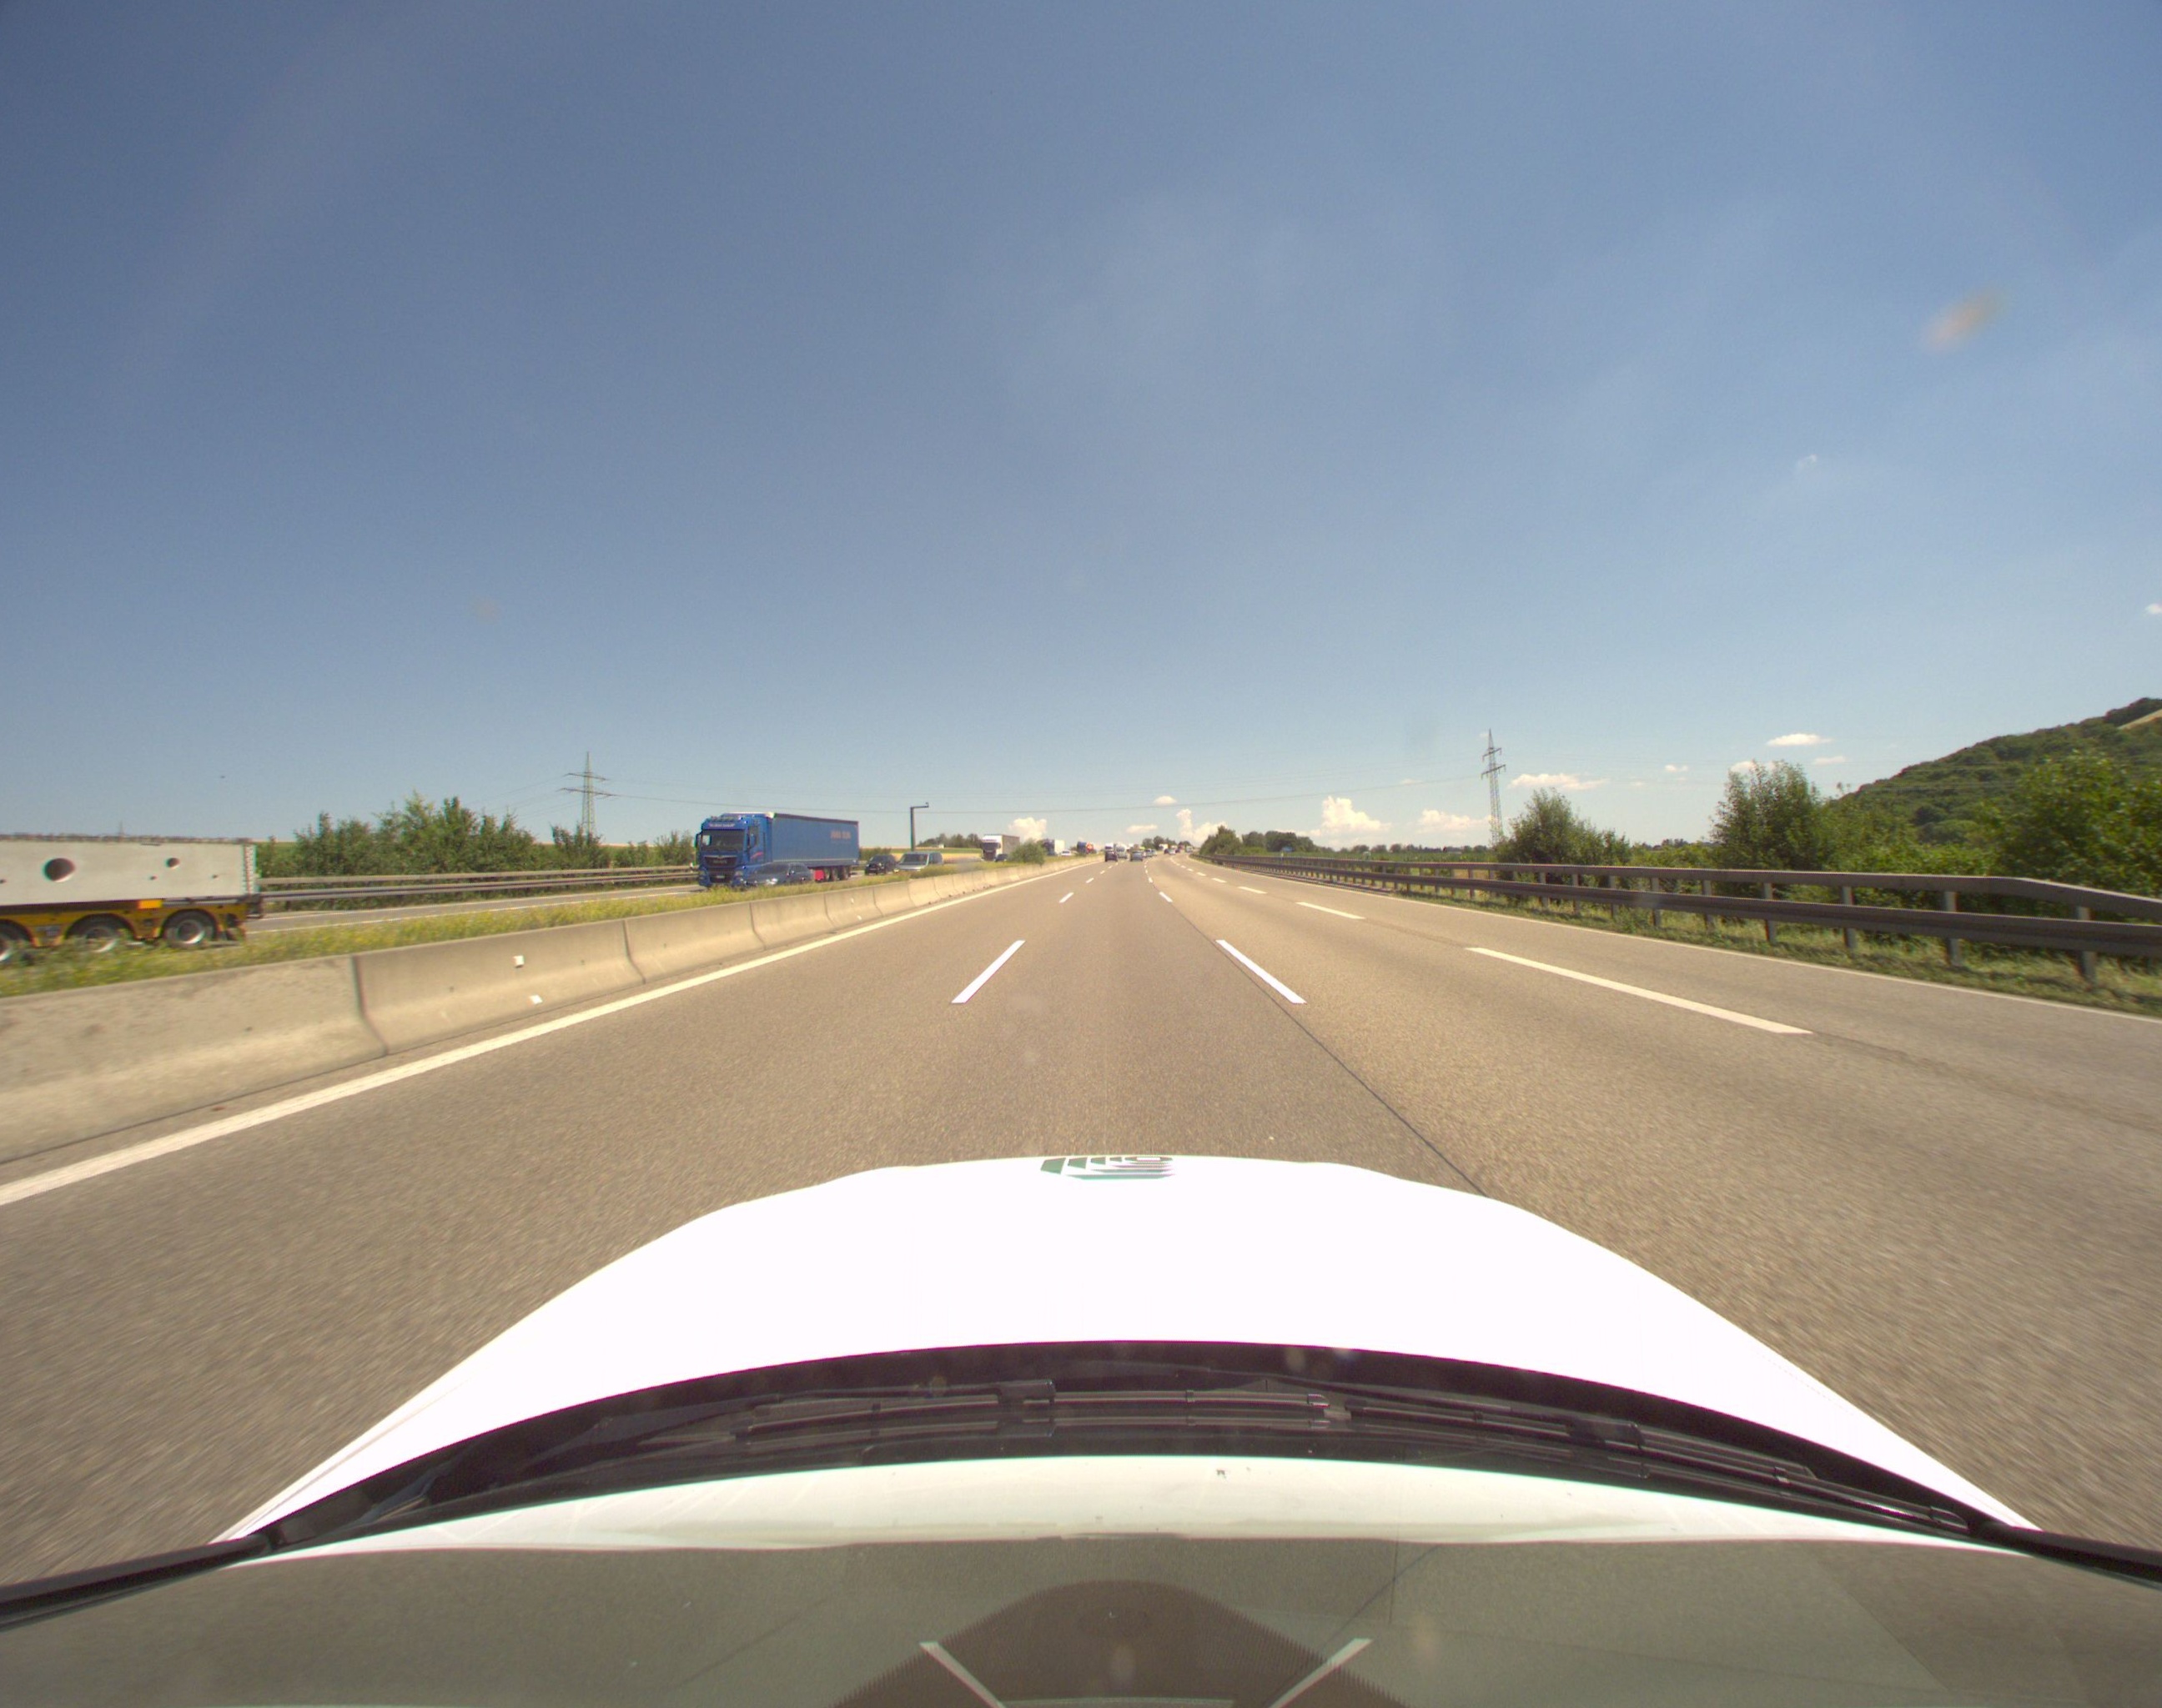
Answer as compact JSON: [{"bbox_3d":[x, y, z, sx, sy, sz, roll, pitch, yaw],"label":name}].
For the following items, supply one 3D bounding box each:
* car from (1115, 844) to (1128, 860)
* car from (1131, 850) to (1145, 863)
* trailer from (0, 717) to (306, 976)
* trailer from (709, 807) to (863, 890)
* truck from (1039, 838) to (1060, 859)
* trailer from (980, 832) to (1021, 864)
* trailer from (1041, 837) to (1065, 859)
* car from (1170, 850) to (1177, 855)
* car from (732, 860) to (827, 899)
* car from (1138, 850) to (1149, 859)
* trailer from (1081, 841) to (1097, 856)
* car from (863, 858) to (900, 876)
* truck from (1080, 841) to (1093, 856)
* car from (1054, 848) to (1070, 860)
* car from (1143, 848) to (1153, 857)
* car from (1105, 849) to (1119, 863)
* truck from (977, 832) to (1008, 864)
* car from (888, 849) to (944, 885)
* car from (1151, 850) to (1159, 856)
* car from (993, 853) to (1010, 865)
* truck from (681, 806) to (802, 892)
[{"bbox_3d":[7.290,-0.399,145.890,2.169,2.625,4.678,0,-3,5],"label":"car"},{"bbox_3d":[8.420,0.362,121.054,1.985,1.750,4.003,0,-3,3],"label":"car"},{"bbox_3d":[-18.728,-0.108,10.579,2.940,4.100,14.393,0,0,3],"label":"trailer"},{"bbox_3d":[-16.975,-0.258,48.779,3.147,4.194,14.394,0,0,4],"label":"trailer"},{"bbox_3d":[-6.479,-1.077,167.134,3.210,4.206,7.138,-1,0,6],"label":"truck"},{"bbox_3d":[-11.725,-0.834,119.987,3.108,4.324,14.568,0,0,6],"label":"trailer"},{"bbox_3d":[-5.829,-1.247,173.752,3.225,4.387,14.052,0,0,6],"label":"trailer"},{"bbox_3d":[27.831,-0.326,244.675,1.891,1.442,4.009,-1,0,8],"label":"car"},{"bbox_3d":[-13.163,1.076,36.030,1.906,1.541,5.745,0,0,2],"label":"car"},{"bbox_3d":[12.435,0.129,162.758,1.986,1.585,4.001,-1,-1,2],"label":"car"},{"bbox_3d":[2.319,-1.513,223.725,2.823,3.958,13.756,0,0,7],"label":"trailer"},{"bbox_3d":[-16.116,1.017,65.920,1.650,1.385,4.354,0,0,3],"label":"car"},{"bbox_3d":[1.479,-1.553,217.331,2.762,3.938,6.149,-1,0,6],"label":"truck"},{"bbox_3d":[-3.141,0.055,136.519,1.984,1.904,5.683,0,-1,5],"label":"car"},{"bbox_3d":[14.886,-0.325,181.157,1.985,1.904,4.003,-1,-2,4],"label":"car"},{"bbox_3d":[4.591,0.247,118.821,1.839,1.861,4.211,-1,1,5],"label":"car"},{"bbox_3d":[-12.333,-0.831,113.788,3.117,4.328,6.156,0,0,5],"label":"truck"},{"bbox_3d":[-9.344,0.704,46.631,1.906,1.970,5.449,0,0,2],"label":"car"},{"bbox_3d":[19.334,-0.292,213.171,1.982,1.552,4.009,1,1,8],"label":"car"},{"bbox_3d":[-9.501,0.611,97.576,1.619,1.404,3.731,0,0,1],"label":"car"},{"bbox_3d":[-17.392,-0.246,42.321,3.063,4.090,6.941,0,0,3],"label":"truck"}]
